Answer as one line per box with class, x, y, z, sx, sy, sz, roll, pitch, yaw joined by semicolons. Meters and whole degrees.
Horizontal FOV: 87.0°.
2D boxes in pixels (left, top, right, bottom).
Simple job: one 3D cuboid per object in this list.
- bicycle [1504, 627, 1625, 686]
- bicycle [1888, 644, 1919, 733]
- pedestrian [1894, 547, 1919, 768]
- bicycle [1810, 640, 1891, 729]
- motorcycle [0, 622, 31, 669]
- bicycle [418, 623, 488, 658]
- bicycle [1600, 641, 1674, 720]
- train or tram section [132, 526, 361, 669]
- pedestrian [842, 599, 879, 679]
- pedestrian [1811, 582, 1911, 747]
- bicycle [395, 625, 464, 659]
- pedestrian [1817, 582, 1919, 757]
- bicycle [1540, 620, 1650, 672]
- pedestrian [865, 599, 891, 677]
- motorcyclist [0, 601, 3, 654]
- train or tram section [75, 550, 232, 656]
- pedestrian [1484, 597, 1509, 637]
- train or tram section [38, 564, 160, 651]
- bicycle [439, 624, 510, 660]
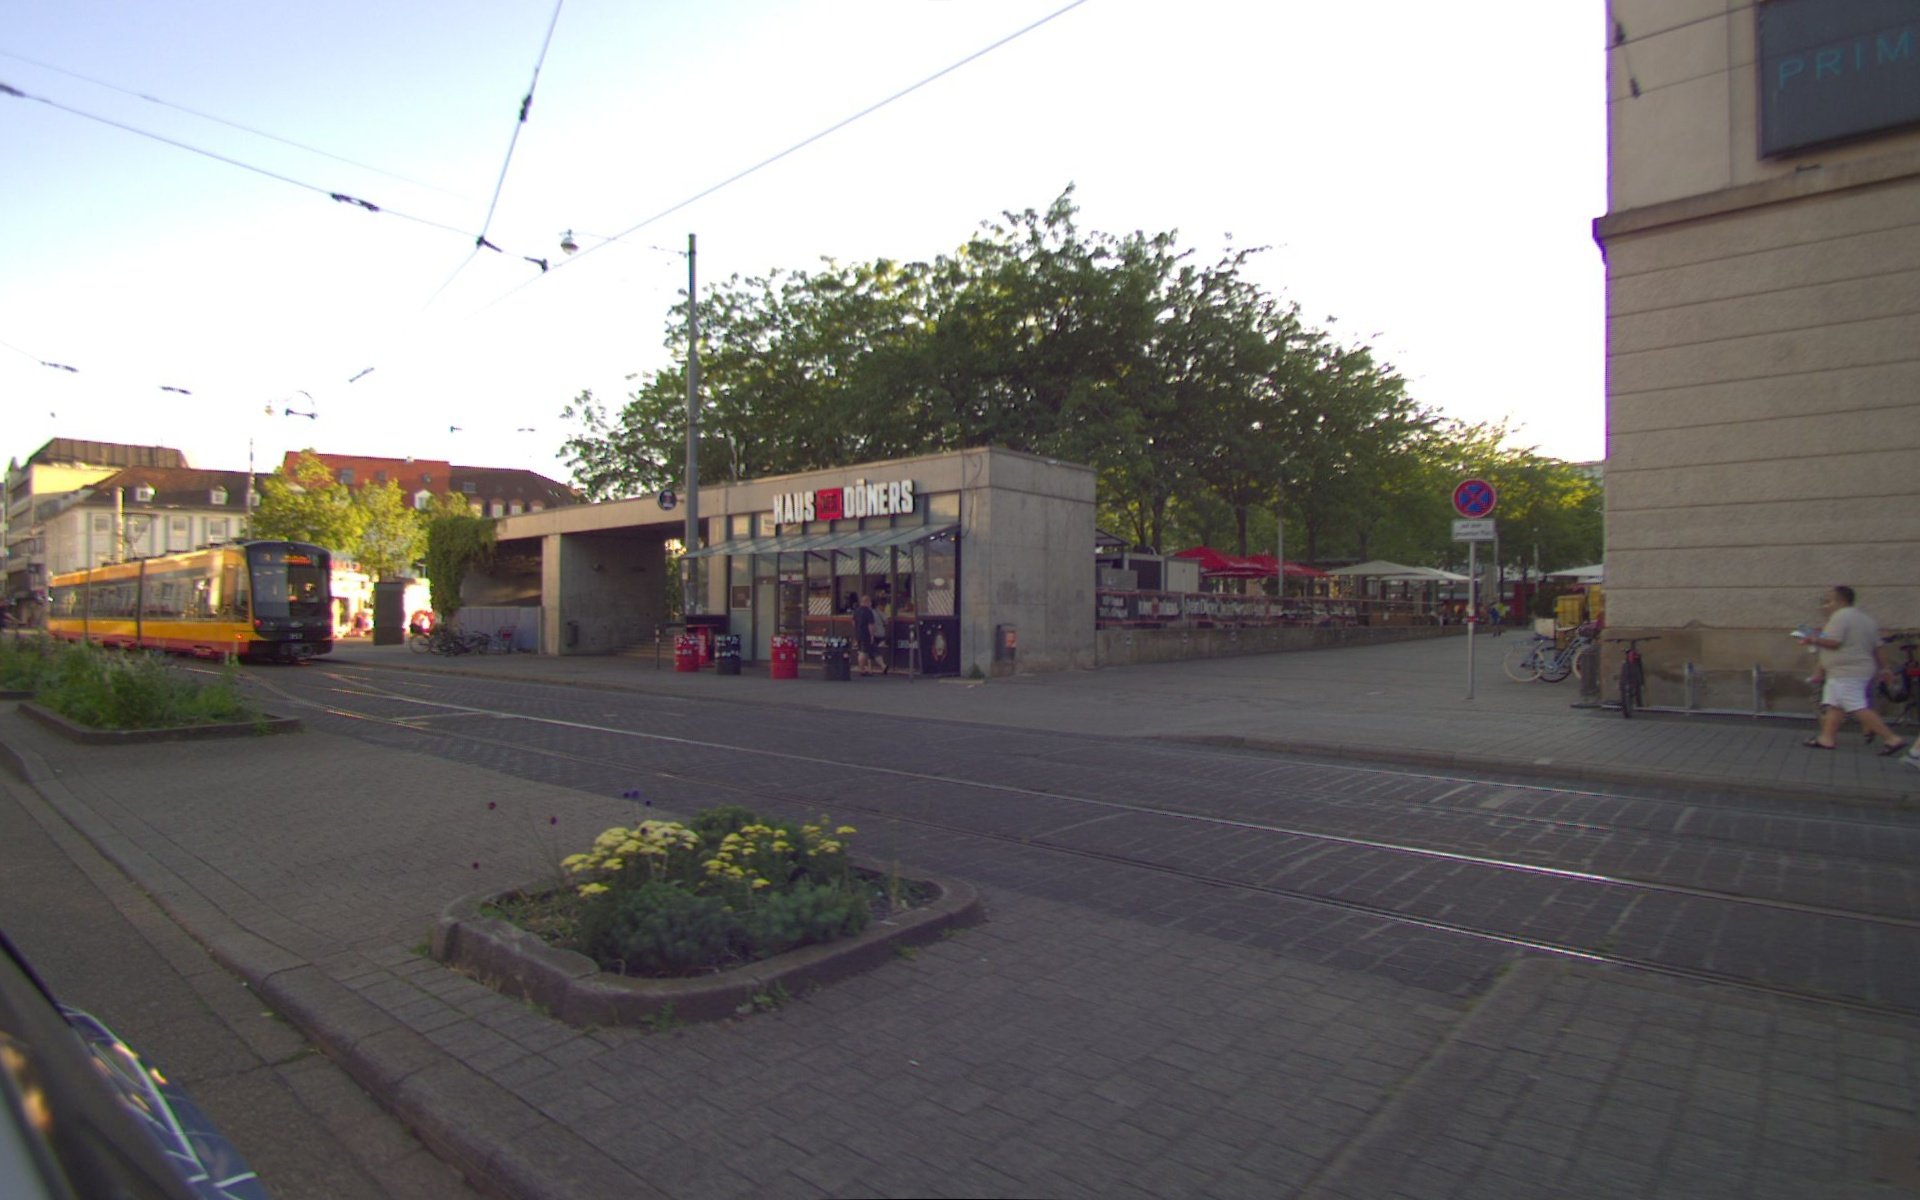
bicycle;11.082;1.010;18.602;1.839;1.020;0.478;-1;-1;40
bicycle;10.922;0.976;11.361;0.634;0.875;1.816;0;0;39
pedestrian;7.930;0.454;7.905;0.671;1.749;0.676;0;-2;20
bicycle;10.337;0.949;11.791;0.634;0.875;1.816;0;0;39
motorcycle;-26.440;1.252;27.411;0.797;1.247;1.774;0;0;10
bicycle;-17.749;1.408;35.478;0.692;1.168;2.103;-1;-1;42
bicycle;8.863;1.021;13.226;0.634;0.875;1.816;0;0;39
train or tram section;-22.889;0.046;31.925;13.475;3.714;2.864;-1;-1;41
pedestrian;-2.123;0.822;21.645;0.551;1.665;0.556;0;0;35
pedestrian;8.988;0.622;10.120;0.679;1.573;0.653;-1;-1;38
bicycle;-19.135;1.513;36.529;0.692;1.168;2.103;-1;-1;42
pedestrian;8.571;0.627;9.549;0.679;1.573;0.653;-1;-1;38
bicycle;12.883;0.919;20.579;1.839;1.020;0.478;-1;-1;40
pedestrian;-1.785;0.819;22.126;0.400;1.665;0.389;0;0;35
motorcyclist;-26.481;0.750;27.207;0.791;1.450;0.798;0;0;9
train or tram section;-32.433;0.213;40.401;11.978;3.714;2.864;-1;-1;41
pedestrian;23.340;0.731;44.036;0.799;1.714;0.789;0;0;40
train or tram section;-40.886;0.406;47.881;10.780;3.714;2.864;-1;-1;41
bicycle;-16.505;1.416;34.441;0.692;1.168;2.103;-1;-1;42
